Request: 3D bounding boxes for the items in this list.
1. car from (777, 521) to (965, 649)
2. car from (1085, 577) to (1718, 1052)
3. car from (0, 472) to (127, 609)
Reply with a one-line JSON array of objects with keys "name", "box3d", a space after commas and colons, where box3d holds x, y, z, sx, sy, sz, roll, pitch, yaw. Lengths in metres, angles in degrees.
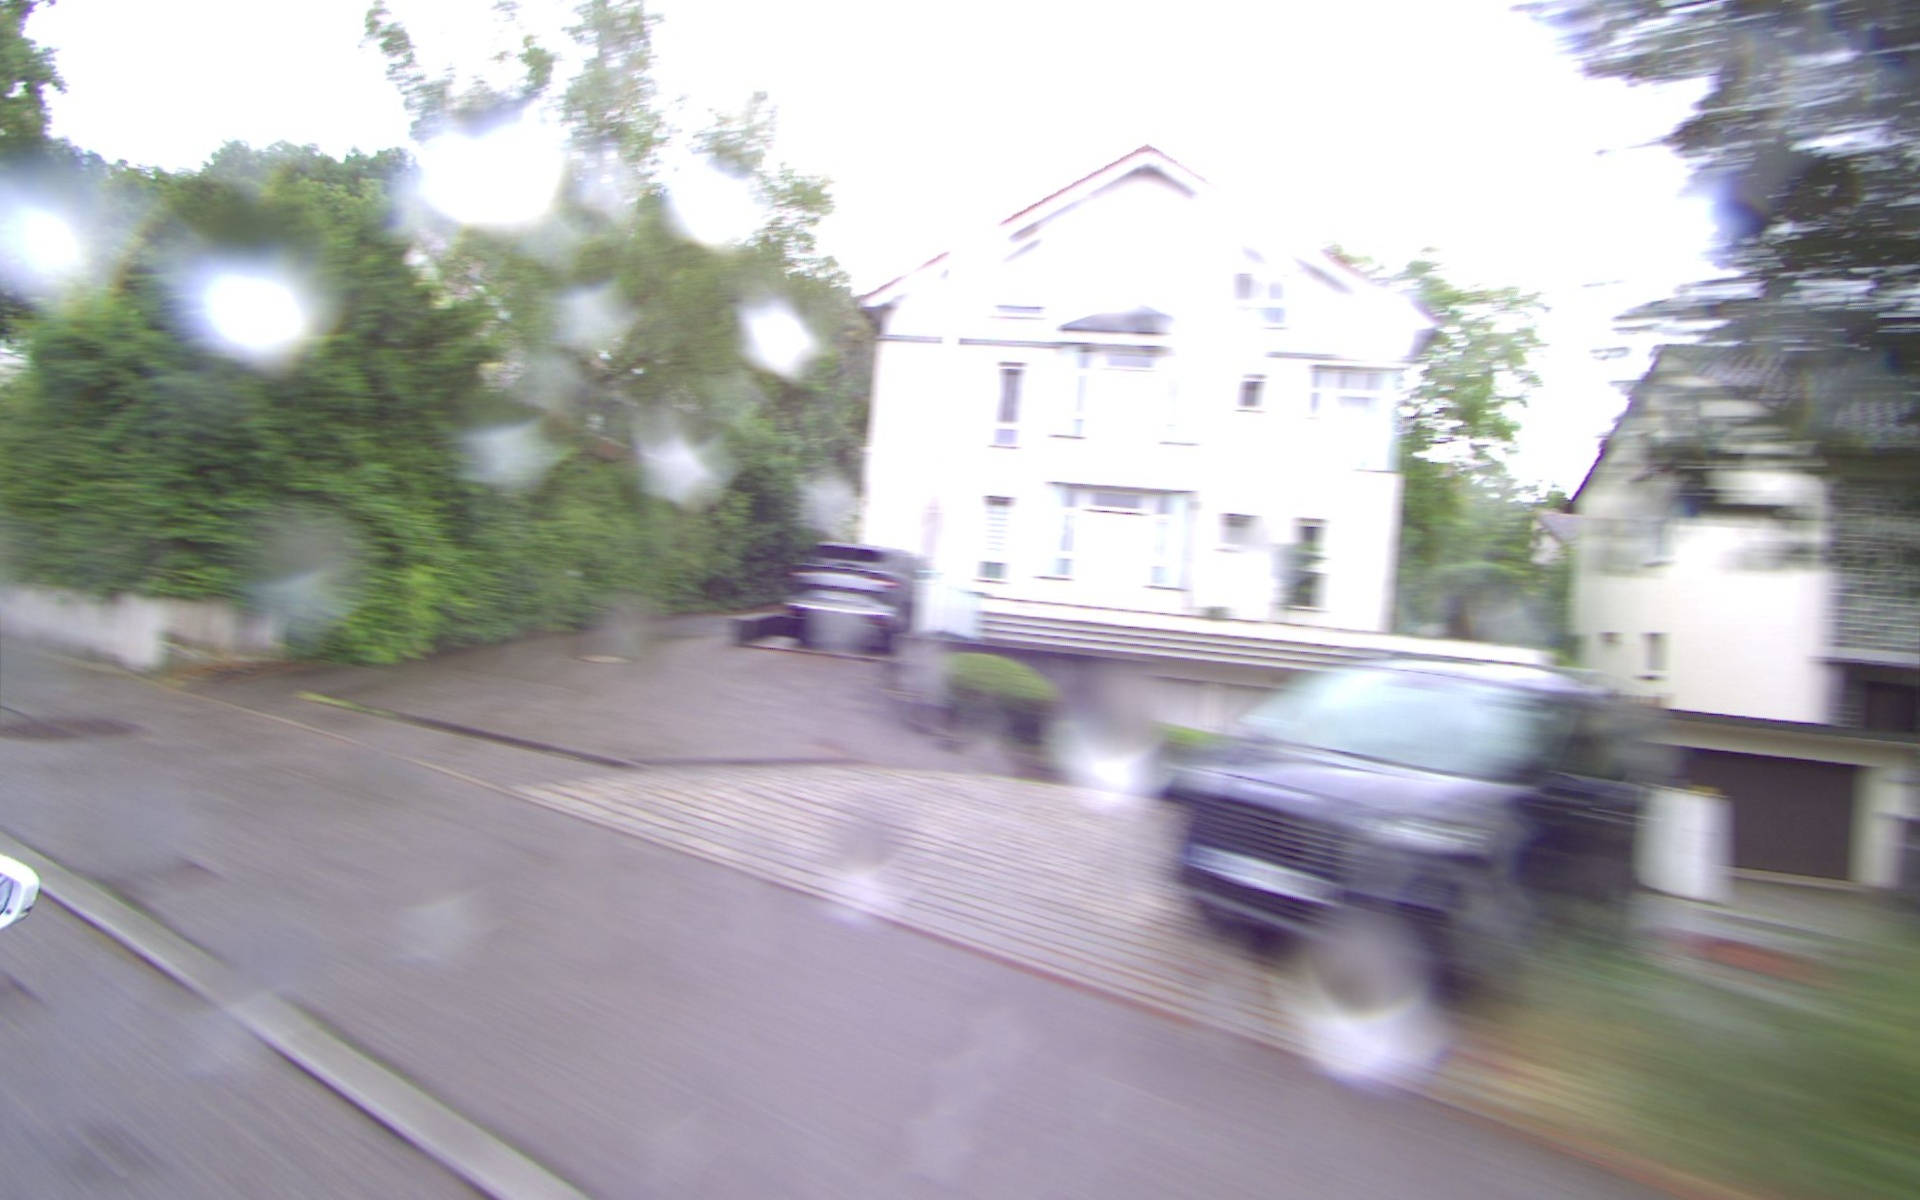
[{"name": "car", "box3d": [-1.272, -0.188, 16.352, 1.695, 1.654, 4.278, 6, 1, 12]}, {"name": "car", "box3d": [2.867, 1.128, 5.915, 4.323, 1.734, 1.708, 12, -4, -43]}, {"name": "car", "box3d": [-12.975, -0.904, 13.137, 3.774, 1.557, 1.534, 7, 4, 20]}]
